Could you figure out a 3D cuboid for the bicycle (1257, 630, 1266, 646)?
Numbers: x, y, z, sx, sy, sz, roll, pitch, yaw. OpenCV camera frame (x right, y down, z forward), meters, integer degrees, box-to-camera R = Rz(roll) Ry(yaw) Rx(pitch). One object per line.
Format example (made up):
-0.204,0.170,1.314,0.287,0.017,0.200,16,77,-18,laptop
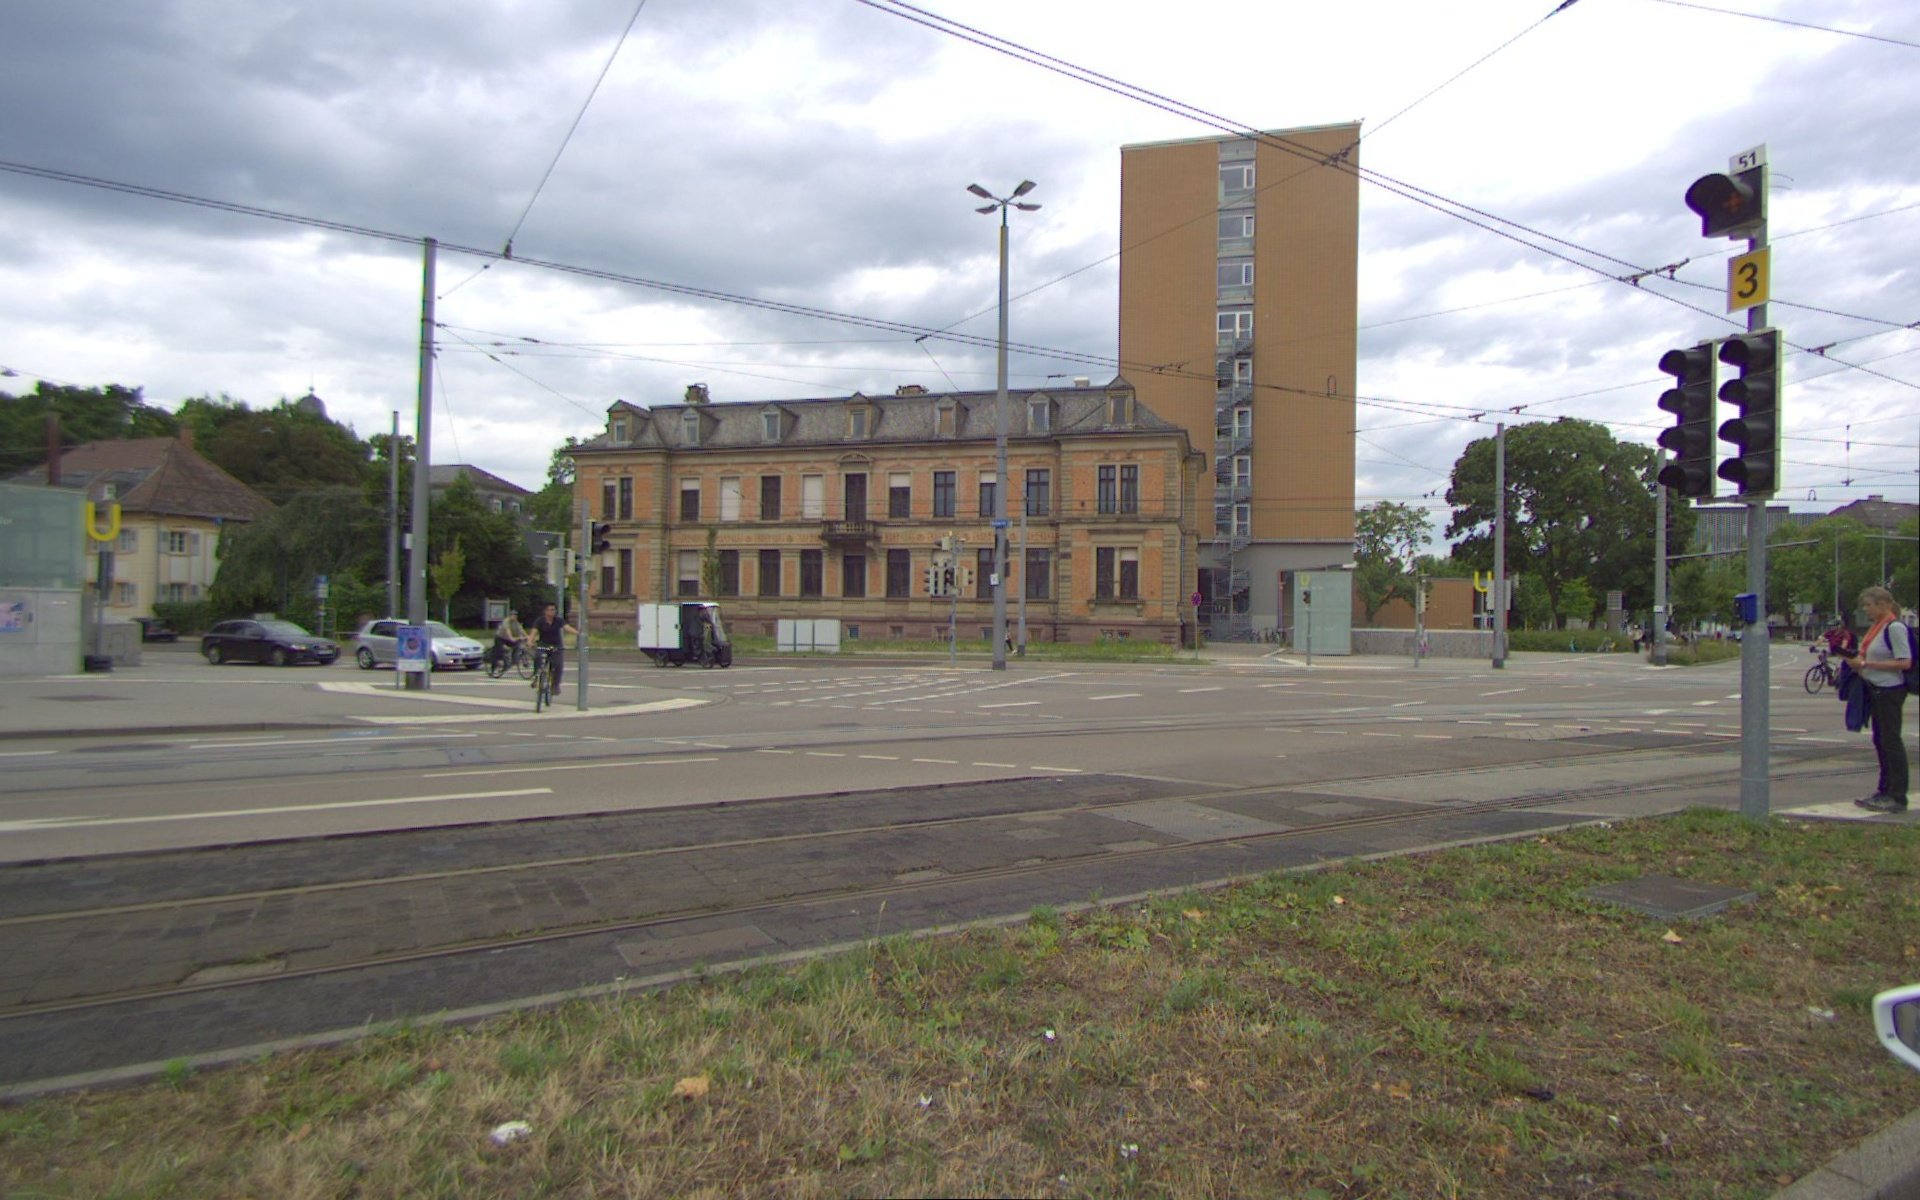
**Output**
22.198,2.800,73.965,0.561,1.120,1.428,1,-1,18,bicycle

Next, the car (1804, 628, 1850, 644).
103.828,4.313,120.326,1.686,1.795,3.993,1,-1,-10,car

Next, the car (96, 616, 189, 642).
-45.036,1.592,55.360,3.919,1.305,1.936,1,-1,12,car

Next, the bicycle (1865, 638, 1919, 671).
39.595,2.321,42.598,1.702,1.339,0.645,0,-1,23,bicycle

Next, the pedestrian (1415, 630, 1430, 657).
23.181,2.173,50.354,0.562,1.353,0.499,1,-1,10,pedestrian

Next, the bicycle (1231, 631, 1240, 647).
20.427,2.904,74.475,0.561,1.120,1.428,1,-1,18,bicycle

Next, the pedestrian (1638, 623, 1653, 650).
51.904,2.797,76.036,0.781,2.007,0.880,1,-2,26,pedestrian

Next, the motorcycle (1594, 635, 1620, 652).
43.684,2.944,67.836,1.716,1.126,0.510,1,-1,-17,motorcycle

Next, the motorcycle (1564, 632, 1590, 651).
41.580,2.802,67.710,1.443,1.285,0.512,1,-1,14,motorcycle

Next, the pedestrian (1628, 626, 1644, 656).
46.380,2.809,68.945,0.781,2.007,0.880,1,-2,26,pedestrian

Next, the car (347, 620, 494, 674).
-16.250,1.379,30.262,4.081,1.473,1.761,0,-1,23,car

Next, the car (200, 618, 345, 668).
-22.048,1.351,32.233,4.061,1.468,1.697,1,-1,18,car

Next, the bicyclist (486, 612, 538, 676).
-11.861,1.164,26.609,0.899,1.644,0.855,0,-1,20,bicyclist

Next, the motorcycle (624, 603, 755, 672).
-8.484,1.132,31.579,3.614,2.040,1.696,1,-1,19,motorcycle

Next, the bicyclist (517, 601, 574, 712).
-7.091,0.937,17.161,0.805,1.822,1.022,0,0,-28,bicyclist

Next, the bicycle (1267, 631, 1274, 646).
22.821,2.809,73.766,0.500,1.063,1.428,1,-1,18,bicycle

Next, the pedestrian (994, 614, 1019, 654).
2.168,1.572,46.701,1.104,1.786,0.759,1,-1,8,pedestrian

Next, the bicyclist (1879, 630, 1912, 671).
39.634,2.136,42.581,0.840,1.695,0.654,0,-1,23,bicyclist

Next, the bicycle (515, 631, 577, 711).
-7.061,1.168,17.091,0.805,1.259,1.986,0,-2,-27,bicycle

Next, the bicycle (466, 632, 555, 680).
-11.909,1.464,26.615,2.154,1.224,0.857,0,-2,20,bicycle

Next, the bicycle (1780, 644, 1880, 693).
22.733,1.783,26.270,1.993,1.200,0.777,1,-1,-2,bicycle

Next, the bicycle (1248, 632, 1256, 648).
21.554,2.924,74.132,0.561,1.120,1.428,1,-1,18,bicycle

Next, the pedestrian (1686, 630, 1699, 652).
67.822,3.807,92.988,0.868,2.007,0.792,0,-2,42,pedestrian

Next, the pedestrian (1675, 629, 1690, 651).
67.841,3.739,94.333,0.788,2.007,0.873,3,-2,-34,pedestrian

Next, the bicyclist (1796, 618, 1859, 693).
22.692,1.444,26.272,0.977,1.923,0.778,1,-1,-1,bicyclist

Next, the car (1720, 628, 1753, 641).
95.347,4.262,123.403,1.746,1.483,4.002,1,-1,14,car

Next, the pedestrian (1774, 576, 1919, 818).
7.679,0.785,8.437,1.082,1.932,0.736,1,0,18,pedestrian

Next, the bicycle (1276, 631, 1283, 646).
23.396,2.795,73.643,0.472,1.063,1.428,1,-1,18,bicycle

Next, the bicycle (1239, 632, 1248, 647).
20.991,2.906,74.302,0.561,1.120,1.428,1,-1,18,bicycle
